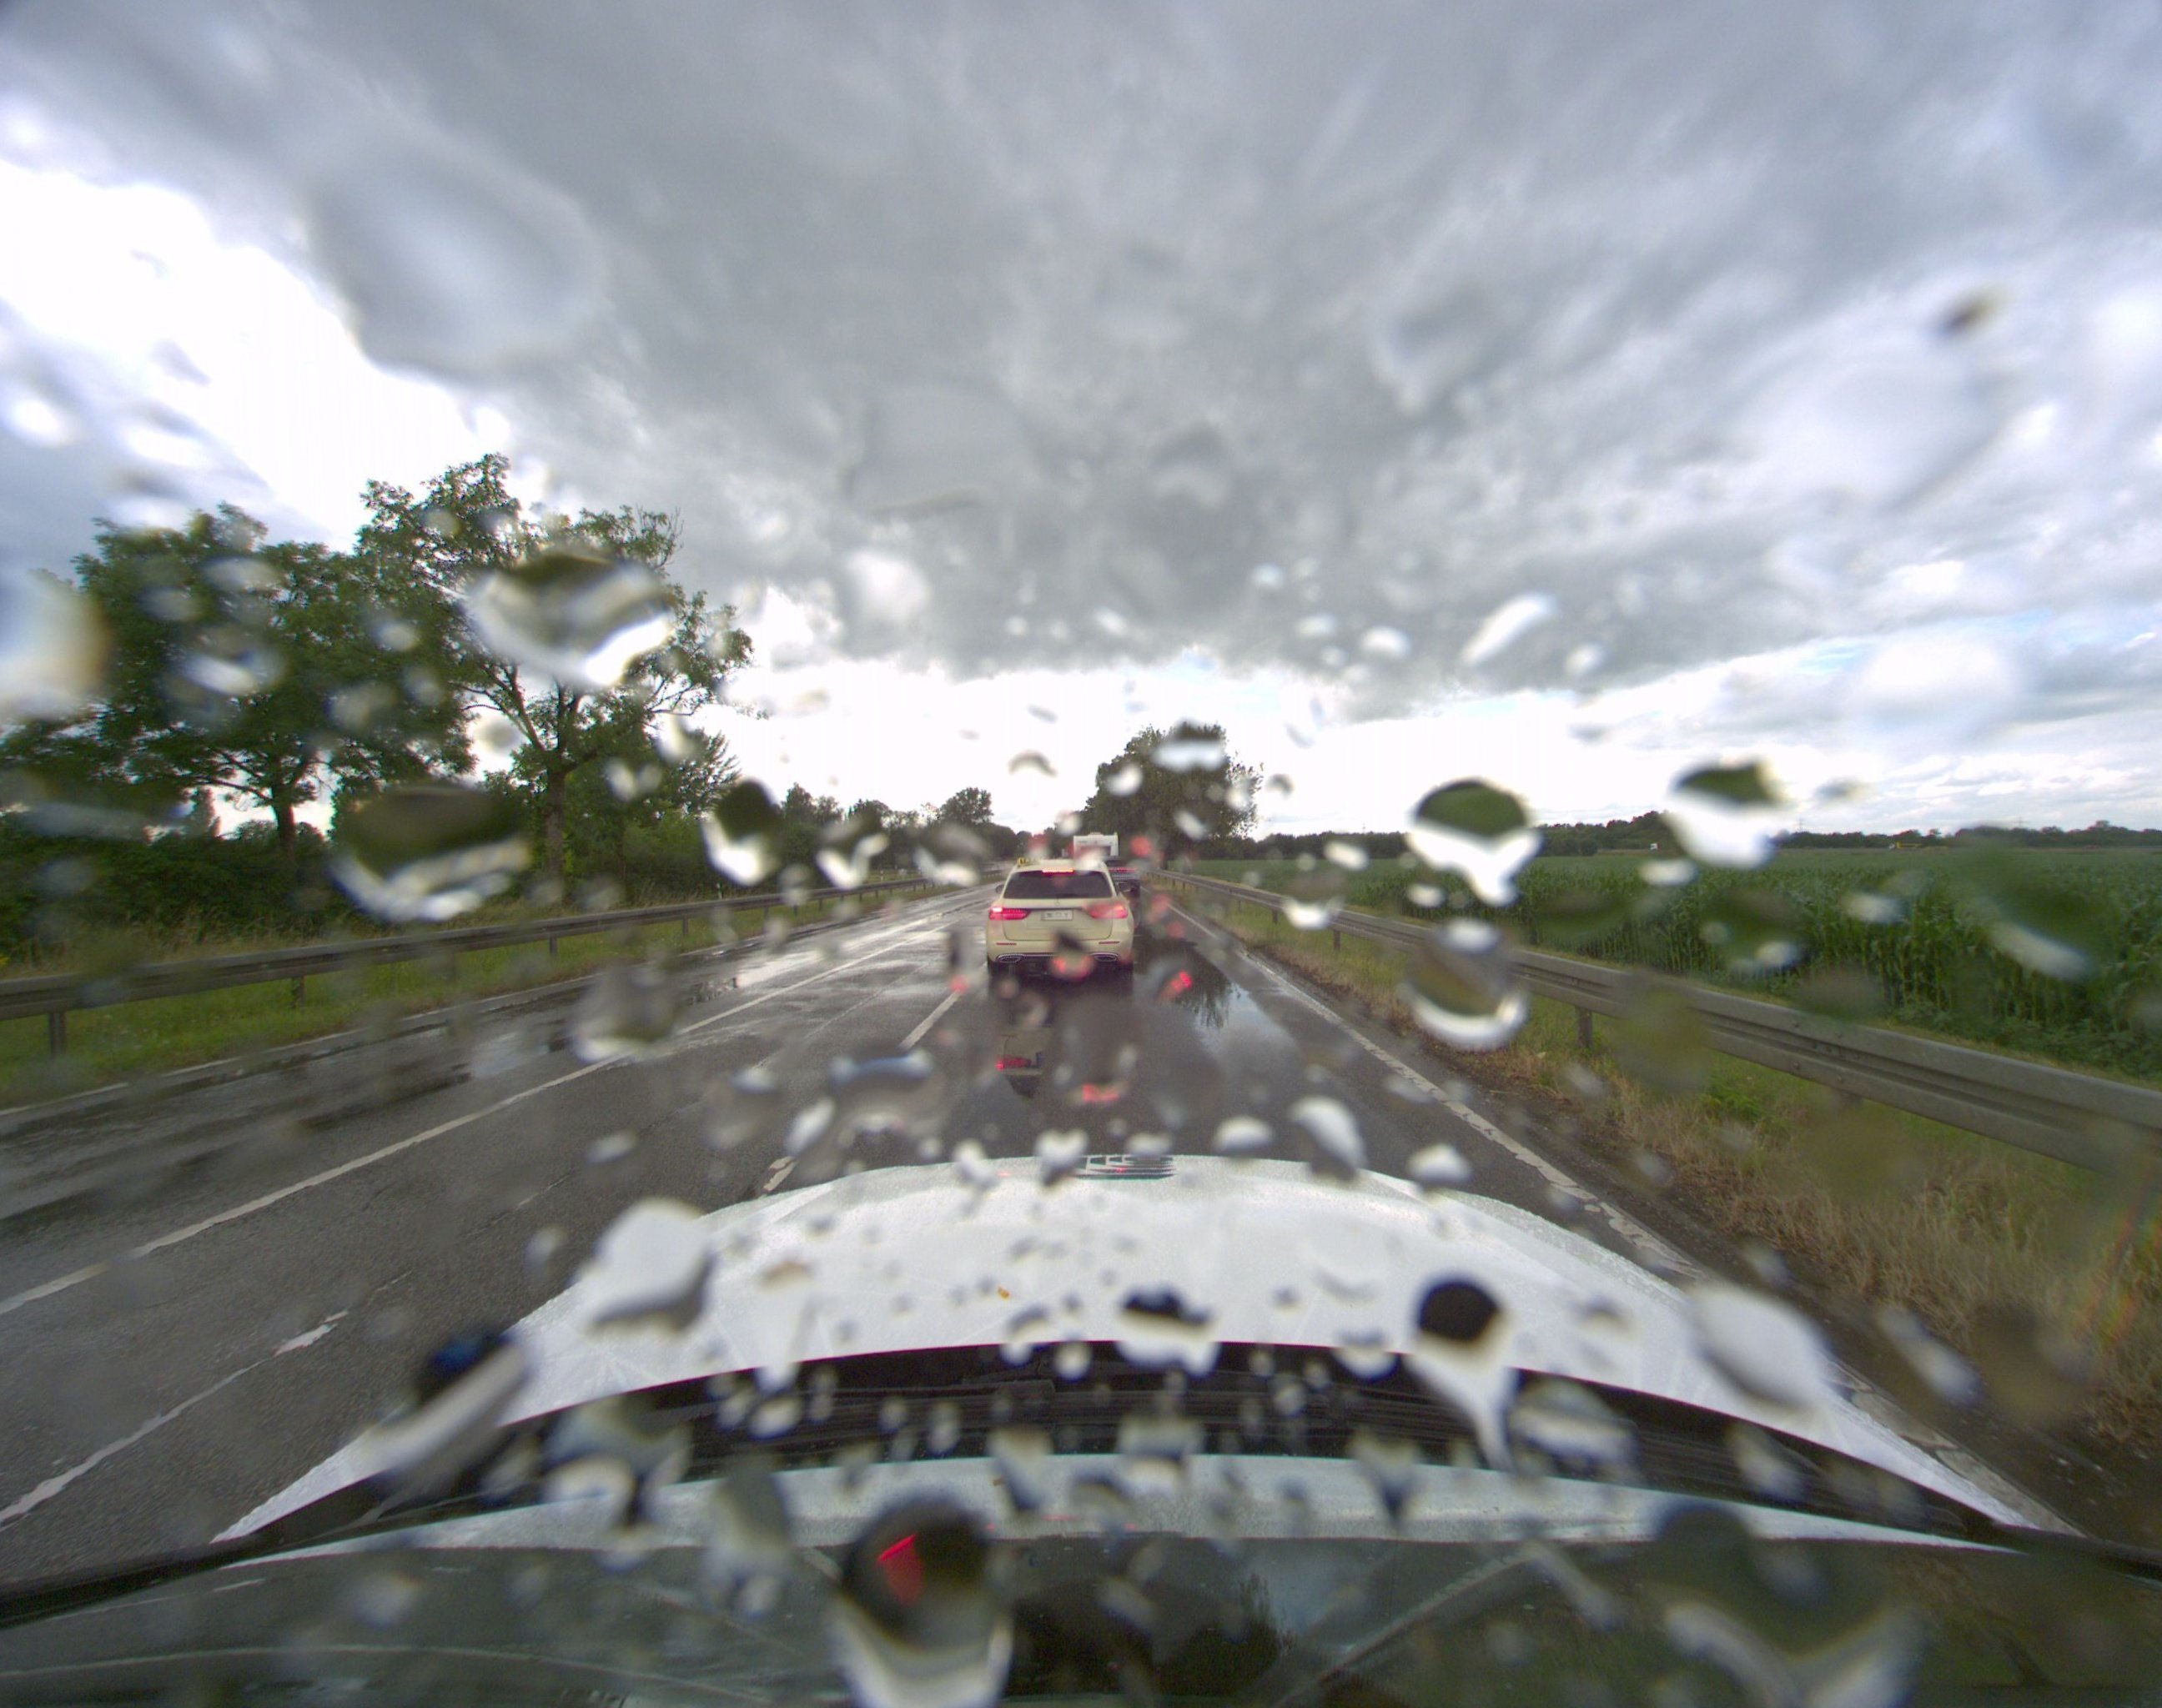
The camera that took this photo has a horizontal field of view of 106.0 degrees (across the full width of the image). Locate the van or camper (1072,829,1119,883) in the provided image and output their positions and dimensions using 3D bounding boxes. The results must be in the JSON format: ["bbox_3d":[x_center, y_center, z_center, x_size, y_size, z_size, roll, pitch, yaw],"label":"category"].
[{"bbox_3d":[0.823,0.106,43.786,2.342,2.680,5.771,-1,0,2],"label":"van or camper"}]

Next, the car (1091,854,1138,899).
[{"bbox_3d":[1.234,0.773,30.183,1.621,1.529,3.934,-1,0,2],"label":"car"}]

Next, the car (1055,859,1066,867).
[{"bbox_3d":[-3.635,1.590,146.889,1.752,1.269,4.002,-1,0,2],"label":"car"}]

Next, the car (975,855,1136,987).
[{"bbox_3d":[-0.182,0.767,11.317,1.817,1.485,4.148,-1,0,3],"label":"car"}]
